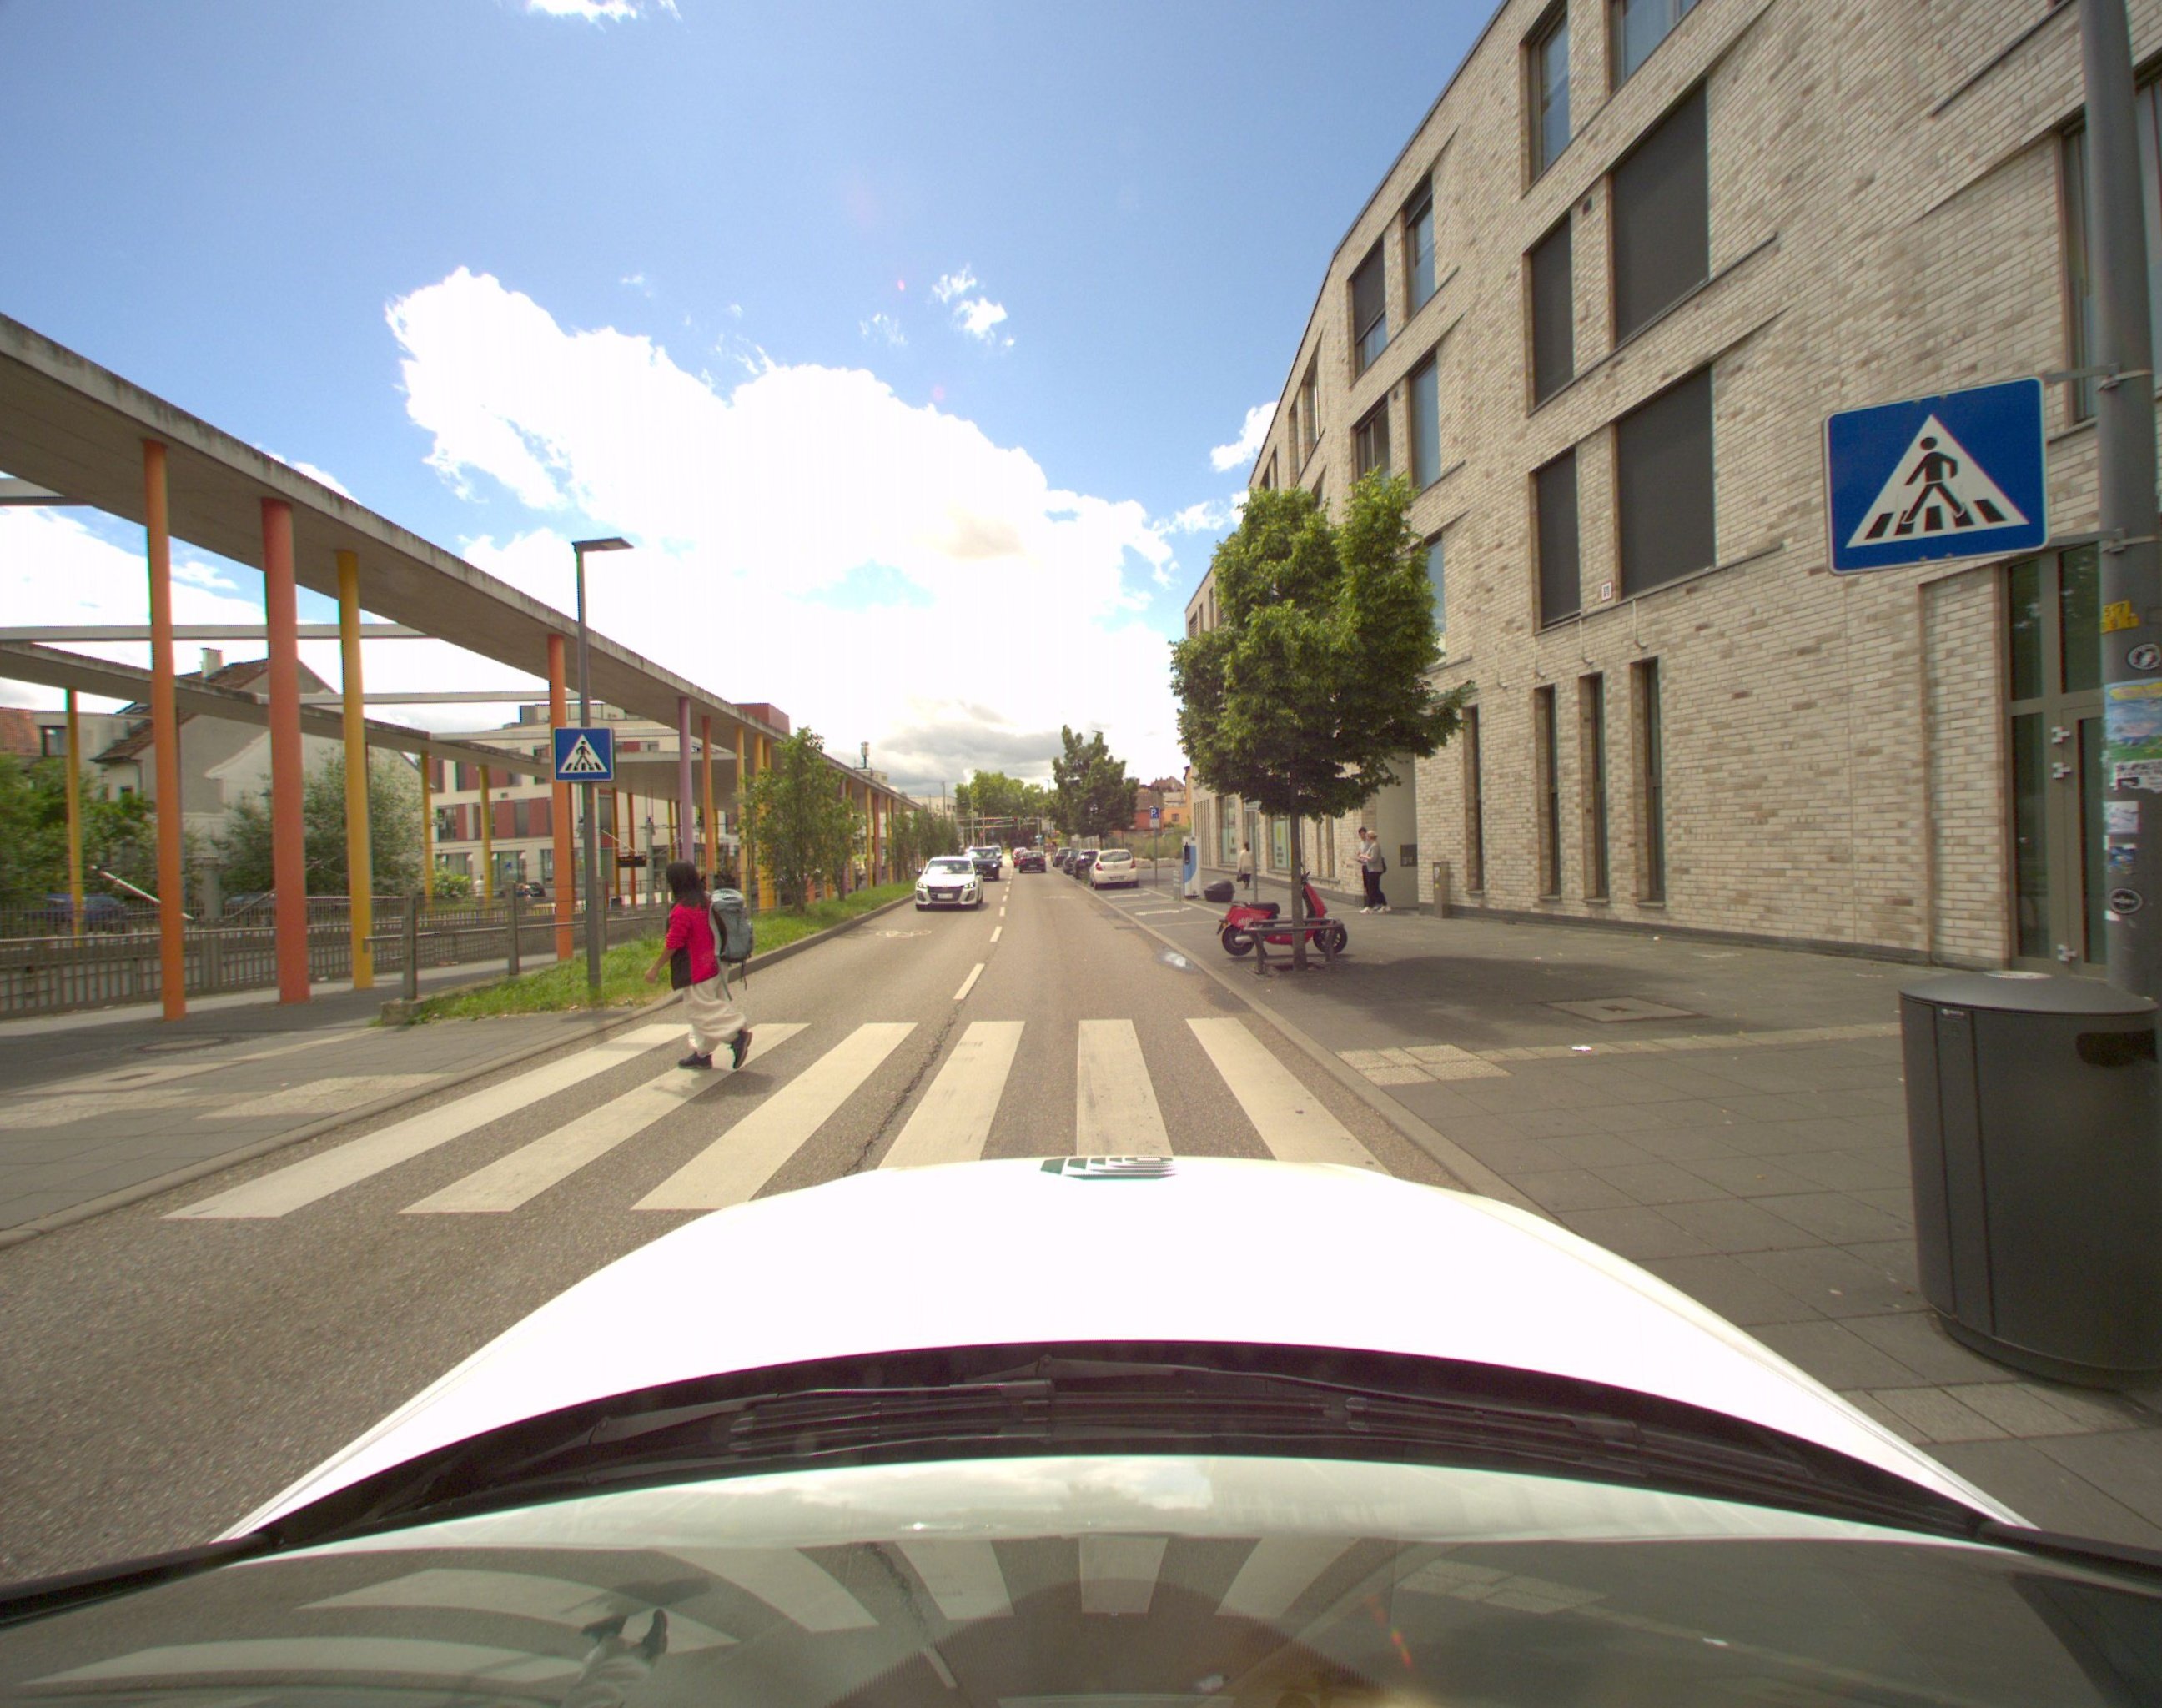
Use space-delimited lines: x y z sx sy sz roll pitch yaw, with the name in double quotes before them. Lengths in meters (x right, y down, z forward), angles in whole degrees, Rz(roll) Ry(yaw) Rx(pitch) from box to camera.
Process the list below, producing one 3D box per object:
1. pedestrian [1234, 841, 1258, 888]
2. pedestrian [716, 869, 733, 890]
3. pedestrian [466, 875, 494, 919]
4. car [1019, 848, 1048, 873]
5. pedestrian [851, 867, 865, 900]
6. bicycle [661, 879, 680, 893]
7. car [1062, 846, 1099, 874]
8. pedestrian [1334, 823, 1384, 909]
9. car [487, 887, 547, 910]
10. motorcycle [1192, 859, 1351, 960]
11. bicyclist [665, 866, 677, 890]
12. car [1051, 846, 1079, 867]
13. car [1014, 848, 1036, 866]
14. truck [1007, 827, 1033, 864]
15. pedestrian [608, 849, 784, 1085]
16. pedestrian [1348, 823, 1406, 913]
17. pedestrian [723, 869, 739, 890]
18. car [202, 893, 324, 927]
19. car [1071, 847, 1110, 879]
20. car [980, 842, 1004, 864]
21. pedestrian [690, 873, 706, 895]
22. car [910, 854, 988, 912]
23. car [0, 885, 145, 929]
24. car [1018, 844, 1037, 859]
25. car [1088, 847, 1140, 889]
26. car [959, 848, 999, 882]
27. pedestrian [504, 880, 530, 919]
"pedestrian" 5.422 0.340 26.834 0.604 1.472 0.792 -3 1 4
"pedestrian" -23.744 1.681 54.206 0.821 1.379 0.701 -1 1 -4
"pedestrian" -26.015 1.835 35.270 0.640 1.883 0.798 -1 -2 -5
"car" -3.111 0.399 53.231 1.724 1.456 3.802 -3 1 -5
"pedestrian" -12.445 1.648 45.447 0.585 1.830 0.709 -1 -2 -3
"bicycle" -27.825 2.153 55.246 0.482 0.963 1.611 -1 -1 -2
"car" -0.079 0.335 48.233 1.861 1.451 4.637 -3 1 -4
"pedestrian" 5.923 0.255 17.377 0.735 1.766 0.621 -2 -1 -11
"car" -40.314 3.168 58.224 3.676 1.325 1.655 -5 -3 19
"motorcycle" 2.658 0.775 11.452 2.036 1.266 0.675 -4 -1 13
"bicyclist" -27.832 1.642 55.341 0.482 1.593 0.681 -1 -2 -2
"car" -1.277 0.175 62.791 1.780 1.451 4.467 -4 1 -6
"car" -4.862 0.220 69.932 1.709 1.393 3.801 -3 1 -5
"truck" -7.901 -1.035 105.016 3.197 4.536 9.013 -1 -1 -4
"pedestrian" -2.745 0.764 5.911 0.926 1.565 0.813 -1 -2 -6
"pedestrian" 6.035 0.282 16.649 0.735 1.766 0.753 -2 -1 -18
"pedestrian" -23.733 1.698 55.229 0.821 1.379 0.701 -1 1 -4
"car" -33.988 2.328 33.870 3.962 1.337 1.575 -1 -2 10
"car" 0.438 0.425 41.735 1.689 1.461 4.142 -3 1 -3
"car" -8.138 -0.106 73.809 2.003 1.917 5.051 -1 0 -8
"pedestrian" -24.258 1.900 51.557 0.650 1.379 0.701 -1 1 -4
"car" -3.696 0.765 23.434 1.807 1.469 3.903 -1 0 -3
"car" -34.385 1.787 27.656 3.962 1.401 1.575 -1 -2 10
"car" -5.797 -0.229 88.597 1.885 1.465 4.061 -3 0 -5
"car" 1.253 0.512 32.380 1.688 1.483 3.794 -3 1 -2
"car" -5.196 0.520 42.008 1.917 1.605 4.617 -1 0 -6
"pedestrian" -24.740 1.983 35.758 0.640 1.662 0.729 -1 -2 -5
